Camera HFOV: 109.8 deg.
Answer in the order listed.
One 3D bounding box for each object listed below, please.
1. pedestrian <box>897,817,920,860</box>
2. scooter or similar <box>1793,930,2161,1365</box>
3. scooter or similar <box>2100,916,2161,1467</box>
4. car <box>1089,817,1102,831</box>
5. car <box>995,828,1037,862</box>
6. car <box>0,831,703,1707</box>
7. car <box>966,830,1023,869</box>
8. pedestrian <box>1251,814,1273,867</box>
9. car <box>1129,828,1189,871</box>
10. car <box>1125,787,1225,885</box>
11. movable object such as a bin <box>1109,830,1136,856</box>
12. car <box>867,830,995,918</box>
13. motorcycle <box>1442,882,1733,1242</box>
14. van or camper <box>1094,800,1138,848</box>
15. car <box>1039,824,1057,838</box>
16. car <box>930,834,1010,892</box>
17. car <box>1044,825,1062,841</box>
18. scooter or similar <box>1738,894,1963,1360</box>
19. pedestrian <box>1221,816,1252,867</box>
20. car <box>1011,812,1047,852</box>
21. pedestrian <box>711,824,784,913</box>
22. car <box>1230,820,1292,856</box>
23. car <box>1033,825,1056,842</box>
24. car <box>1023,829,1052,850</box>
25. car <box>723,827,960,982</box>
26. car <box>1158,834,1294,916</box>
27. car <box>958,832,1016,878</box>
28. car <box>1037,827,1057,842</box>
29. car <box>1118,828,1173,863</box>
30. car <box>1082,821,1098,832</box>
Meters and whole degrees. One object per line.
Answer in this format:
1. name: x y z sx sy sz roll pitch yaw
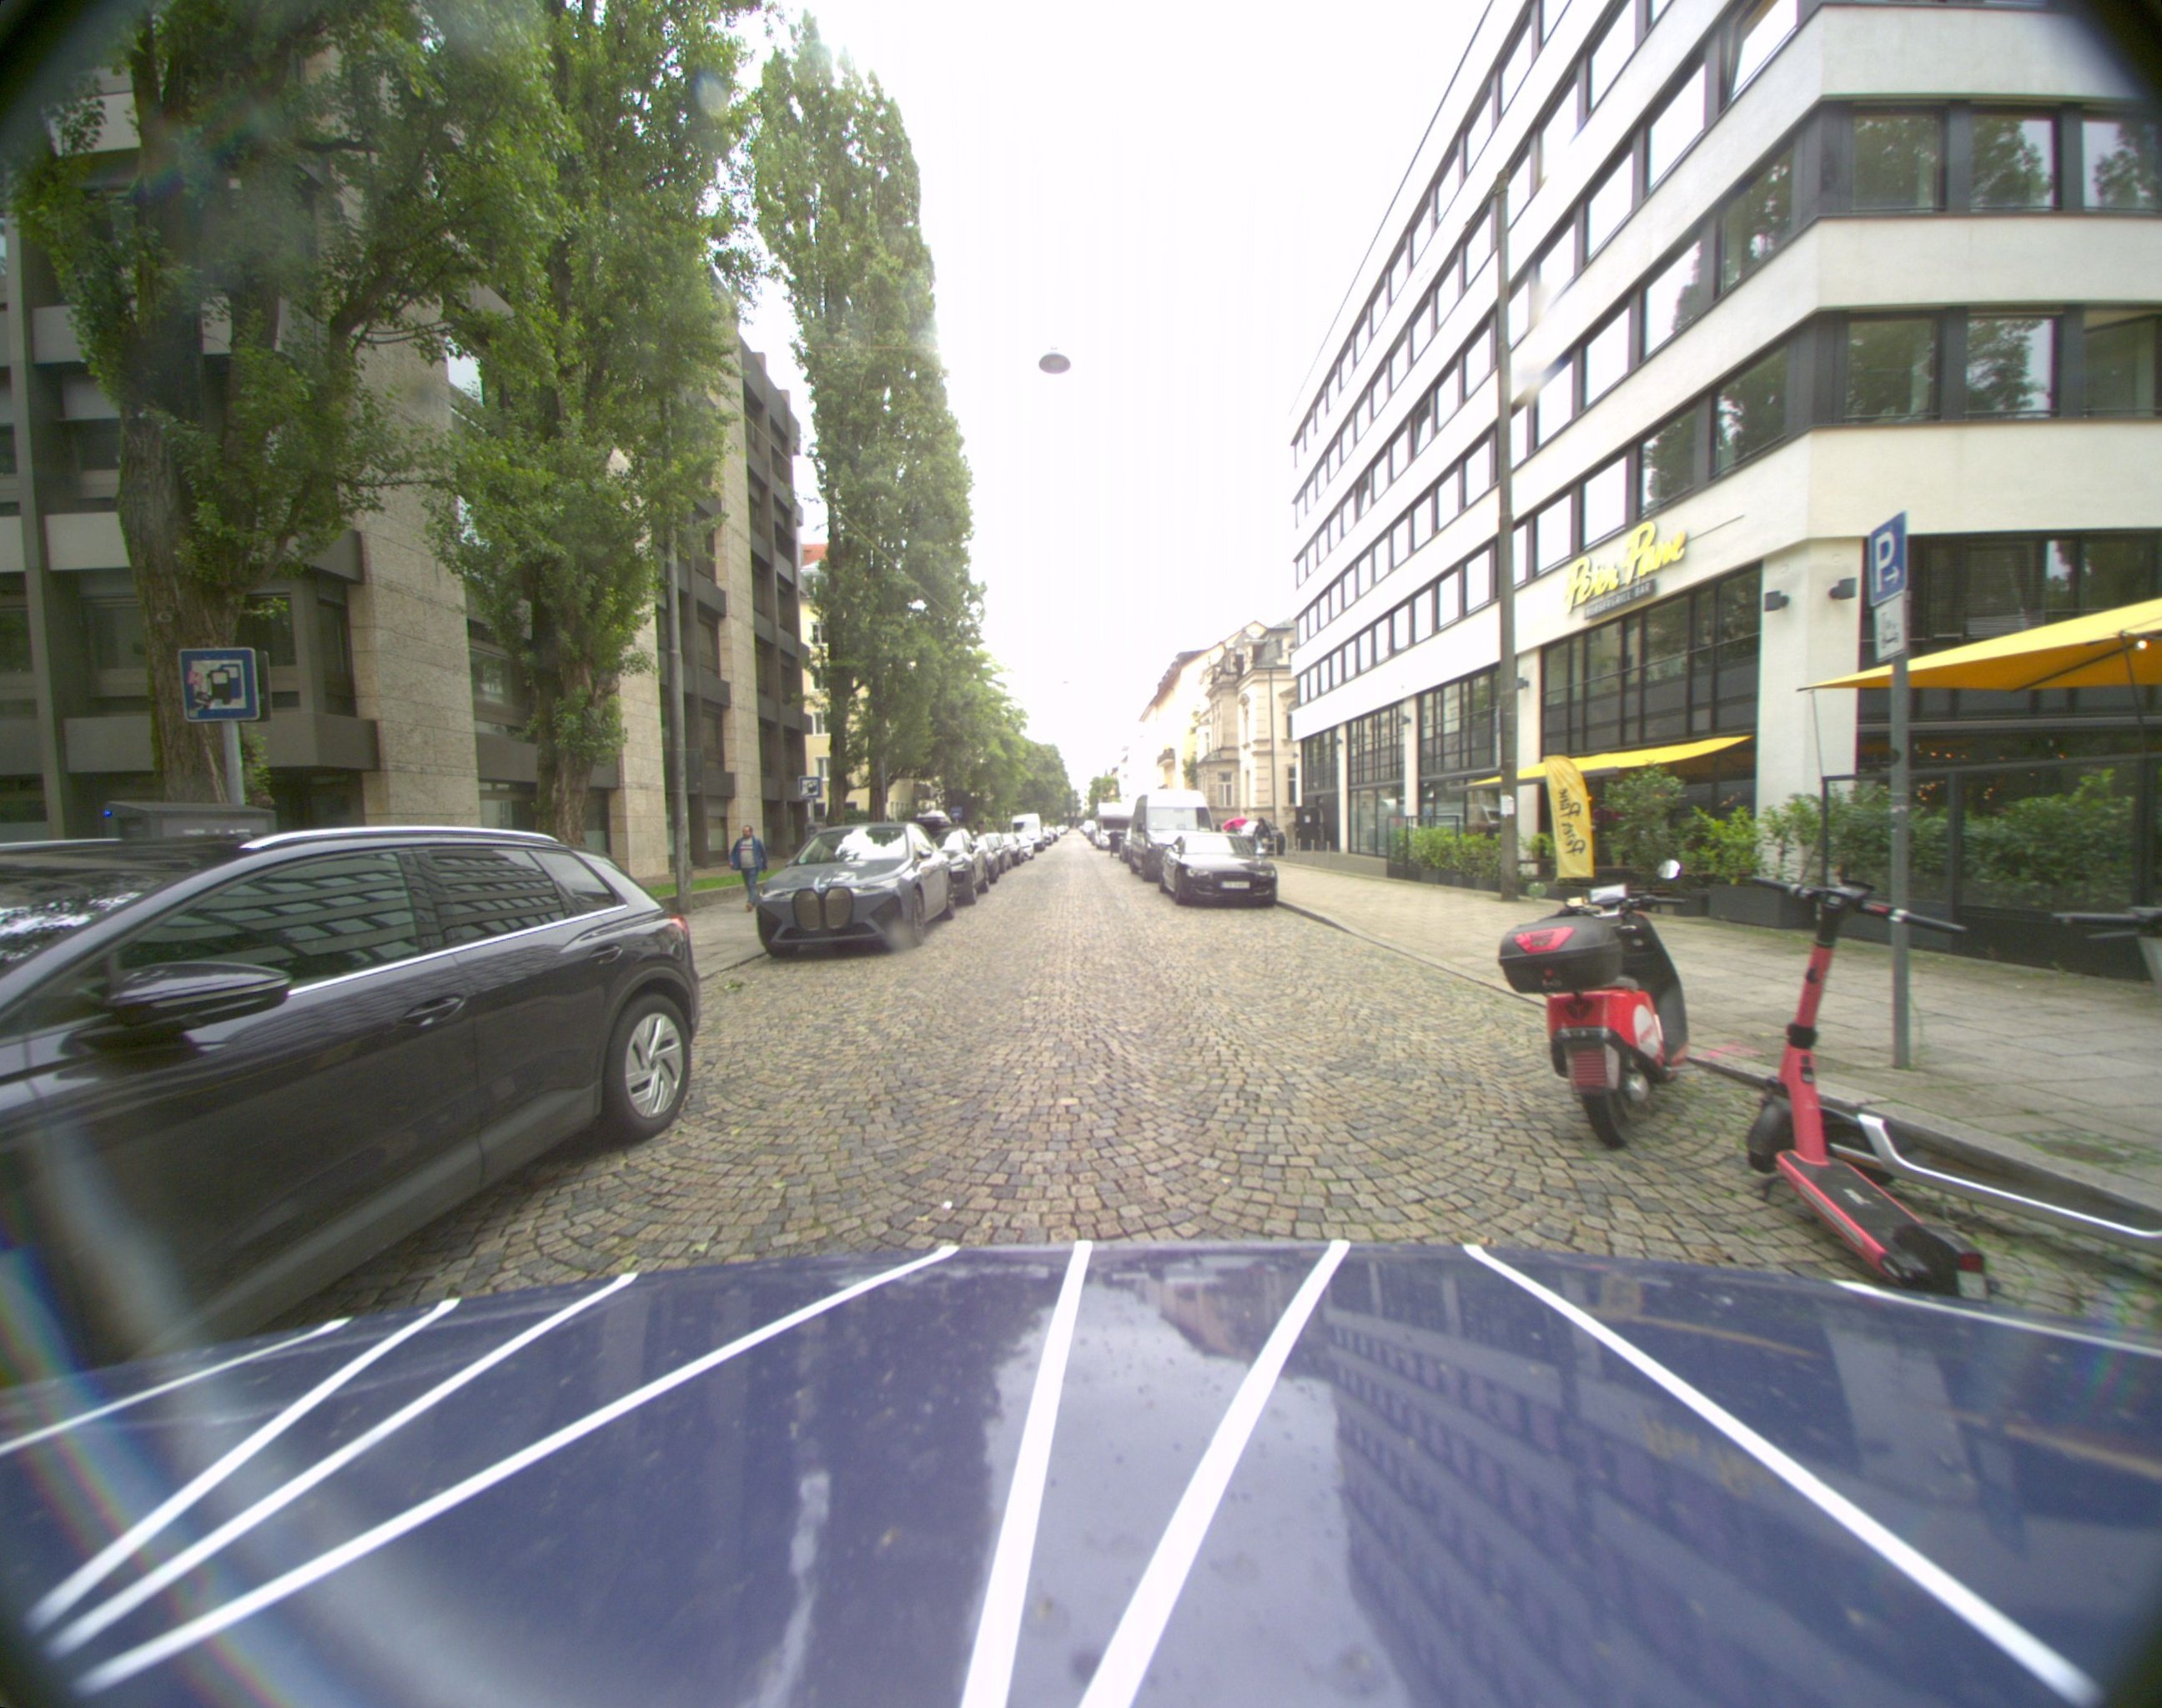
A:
1. pedestrian: -6.311 -0.564 27.767 0.645 1.529 0.708 -2 3 -3
2. scooter or similar: 3.251 0.917 2.501 0.390 1.173 1.248 -4 3 -31
3. scooter or similar: 3.157 0.813 2.044 1.253 1.266 0.326 -3 3 -30
4. car: 2.635 -5.377 137.404 2.088 2.419 5.607 -2 2 -2
5. car: -3.220 -0.492 38.044 1.868 1.491 3.871 -3 3 -3
6. car: -3.124 0.845 2.206 1.925 1.691 4.199 -2 3 -1
7. car: -3.642 -0.243 32.612 1.999 1.380 3.871 -3 3 -1
8. pedestrian: 6.079 -0.468 25.562 0.575 1.739 0.650 -2 3 0
9. car: 2.854 -0.233 28.645 1.998 1.423 3.999 -1 3 2
10. car: 2.605 -0.579 22.511 2.065 2.477 5.845 -2 3 -1
11. movable object such as a bin: 2.100 -0.572 38.677 1.255 1.291 1.173 -1 3 -4
12. car: -3.119 0.316 16.778 1.999 1.574 4.339 -2 3 -1
13. motorcycle: 2.616 0.824 3.814 1.994 1.189 0.769 -4 4 -43
14. van or camper: 2.305 -2.108 52.528 2.464 3.031 7.313 -2 3 -1
15. car: -3.646 -2.541 83.885 1.999 1.380 3.871 -2 3 -3
16. car: -3.283 0.190 23.260 1.723 1.382 4.203 -4 3 0
17. car: -3.306 -2.460 89.072 1.999 1.681 3.871 -3 3 -3
18. scooter or similar: 2.841 0.855 2.905 0.326 1.266 1.360 0 4 34
19. pedestrian: 5.301 -0.443 25.948 0.928 1.697 0.799 -1 3 3
20. car: -3.391 -1.487 50.675 2.088 2.419 5.607 -3 3 -2
21. pedestrian: -6.678 0.276 15.232 0.867 1.705 0.913 -1 3 19
22. car: 8.316 -0.794 35.517 1.912 1.524 4.167 -2 3 1
23. car: -3.348 -1.905 69.290 1.999 1.380 3.871 -3 3 -3
24. car: -3.233 -1.149 57.062 1.999 1.380 3.871 -3 3 -3
25. car: -3.151 0.507 11.184 2.018 1.691 4.670 -2 3 -1
26. car: 2.759 0.308 15.390 1.998 1.323 4.114 -1 3 1
27. car: -3.375 -0.019 27.851 1.605 1.423 3.560 -4 3 0
28. car: -3.507 -2.010 77.826 1.999 1.380 3.871 -2 3 -3
29. car: 2.769 -0.415 33.238 1.999 1.381 3.998 -1 3 -1
30. car: 1.251 -3.999 110.845 1.999 1.402 3.871 -3 3 -3
